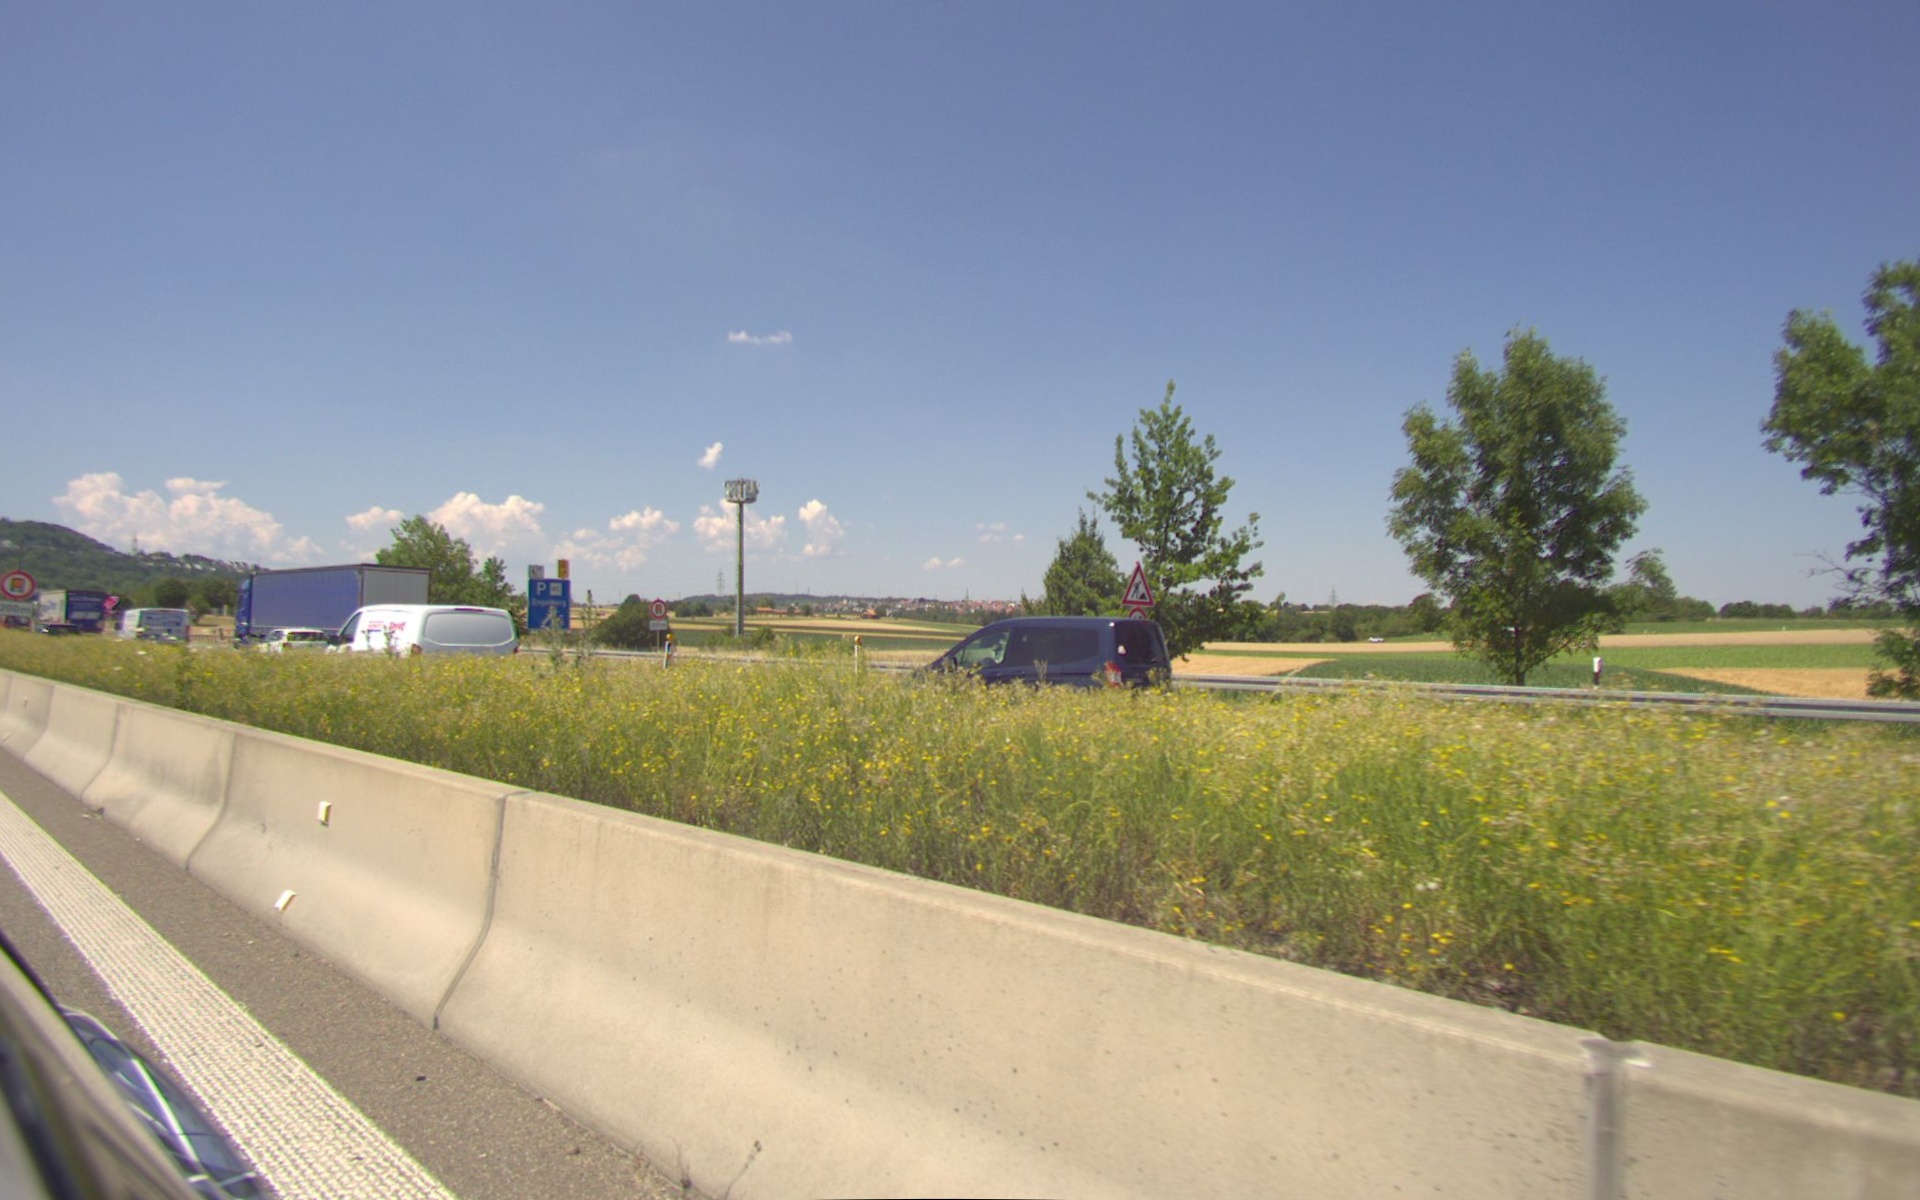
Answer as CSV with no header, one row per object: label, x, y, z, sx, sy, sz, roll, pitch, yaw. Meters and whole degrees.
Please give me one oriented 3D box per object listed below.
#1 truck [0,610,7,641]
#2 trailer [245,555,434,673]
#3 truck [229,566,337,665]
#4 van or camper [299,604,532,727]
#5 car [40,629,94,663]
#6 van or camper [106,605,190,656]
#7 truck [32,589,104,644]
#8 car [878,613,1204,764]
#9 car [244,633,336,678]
truck,-117.565,3.070,122.254,8.784,3.648,2.670,-1,-3,42
trailer,-26.735,0.683,43.088,13.635,4.383,2.853,-1,-3,41
truck,-31.923,0.777,47.655,5.583,4.383,2.835,-1,-3,41
van or camper,-10.045,1.101,18.481,5.198,1.948,1.973,-1,-2,40
car,-40.225,2.056,45.557,3.193,1.480,1.371,-1,-2,40
van or camper,-38.690,1.444,48.173,5.489,2.291,2.072,-1,-2,40
truck,-75.949,1.435,86.029,14.115,4.271,2.565,-1,-4,41
car,0.973,1.080,13.758,4.258,1.740,1.677,-1,-2,40
car,-23.093,1.873,34.850,3.861,1.475,1.600,-1,-2,40
